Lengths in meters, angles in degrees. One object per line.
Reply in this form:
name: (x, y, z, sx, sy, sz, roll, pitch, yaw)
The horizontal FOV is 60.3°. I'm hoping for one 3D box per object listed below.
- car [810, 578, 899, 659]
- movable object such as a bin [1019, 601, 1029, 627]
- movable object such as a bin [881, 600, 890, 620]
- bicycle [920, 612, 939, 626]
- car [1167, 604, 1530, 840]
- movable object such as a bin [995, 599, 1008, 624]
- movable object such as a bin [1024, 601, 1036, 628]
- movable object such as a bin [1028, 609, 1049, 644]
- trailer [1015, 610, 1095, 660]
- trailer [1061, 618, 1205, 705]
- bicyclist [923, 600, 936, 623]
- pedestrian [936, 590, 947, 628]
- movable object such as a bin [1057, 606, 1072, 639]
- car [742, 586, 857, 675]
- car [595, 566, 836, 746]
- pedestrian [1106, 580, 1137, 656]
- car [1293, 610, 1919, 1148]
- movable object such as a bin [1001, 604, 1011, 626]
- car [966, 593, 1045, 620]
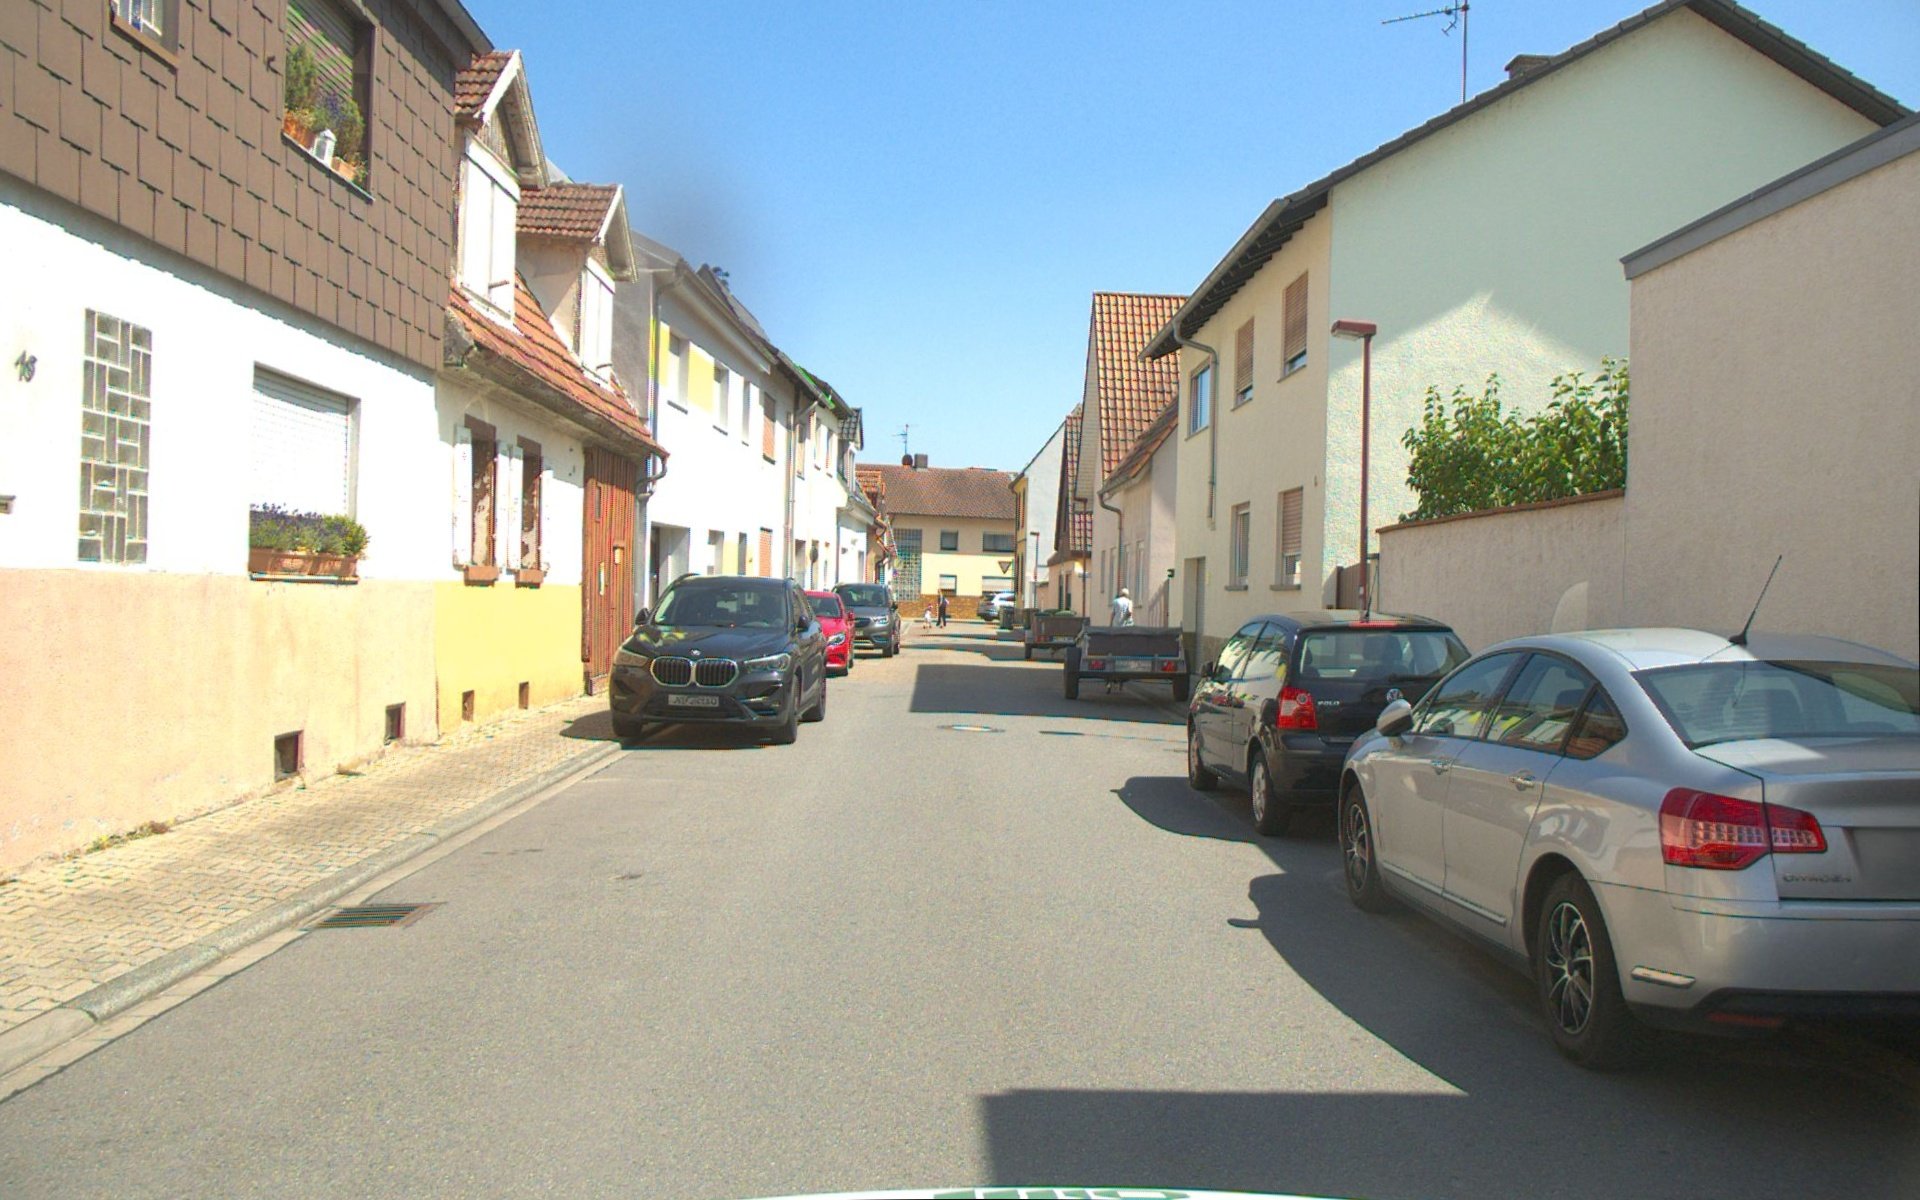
car: (-2.346, 0.386, 37.674, 1.763, 1.733, 4.487, 0, 0, 0)
movable object such as a bin: (2.867, 0.635, 73.971, 0.417, 1.147, 0.413, 1, 0, -3)
movable object such as a bin: (-3.615, 0.486, 80.489, 0.439, 0.937, 0.404, 1, 0, -3)
bicycle: (-1.326, 0.824, 71.363, 0.436, 0.577, 0.930, 1, 0, -29)
car: (2.726, 0.781, 12.548, 1.616, 1.461, 4.132, 1, 0, -3)
movable object such as a bin: (1.881, 0.512, 75.131, 0.557, 1.147, 0.453, 1, 0, -3)
movable object such as a bin: (3.022, 0.639, 71.407, 0.515, 1.147, 0.366, 1, 0, -3)
movable object such as a bin: (2.339, 0.788, 49.541, 0.573, 1.051, 0.595, 1, 0, -2)
trailer: (2.232, 0.804, 39.460, 1.665, 1.051, 3.481, 1, 0, 0)
trailer: (2.488, 0.864, 24.517, 1.780, 1.109, 3.481, 1, 0, 0)
bicyclist: (-1.320, 0.505, 71.351, 0.456, 0.976, 0.348, 1, -1, -29)
pedestrian: (-0.807, 0.389, 71.657, 0.404, 1.638, 0.367, 1, 0, -10)
movable object such as a bin: (3.538, 0.759, 56.099, 0.448, 1.106, 0.502, 1, 0, -2)
car: (-2.811, 0.503, 29.850, 1.764, 1.466, 4.485, 1, 0, -2)
car: (-2.382, 0.503, 17.247, 1.763, 1.601, 4.615, 1, 0, 0)
pedestrian: (3.474, 0.393, 35.676, 0.583, 1.592, 0.556, 1, -4, -3)
car: (2.907, 0.828, 7.317, 1.754, 1.507, 4.932, -1, 0, -1)
movable object such as a bin: (2.085, 0.686, 74.525, 0.415, 0.992, 0.473, 1, 0, -3)
car: (2.831, 0.415, 102.551, 4.701, 1.613, 1.782, 1, 0, -32)
